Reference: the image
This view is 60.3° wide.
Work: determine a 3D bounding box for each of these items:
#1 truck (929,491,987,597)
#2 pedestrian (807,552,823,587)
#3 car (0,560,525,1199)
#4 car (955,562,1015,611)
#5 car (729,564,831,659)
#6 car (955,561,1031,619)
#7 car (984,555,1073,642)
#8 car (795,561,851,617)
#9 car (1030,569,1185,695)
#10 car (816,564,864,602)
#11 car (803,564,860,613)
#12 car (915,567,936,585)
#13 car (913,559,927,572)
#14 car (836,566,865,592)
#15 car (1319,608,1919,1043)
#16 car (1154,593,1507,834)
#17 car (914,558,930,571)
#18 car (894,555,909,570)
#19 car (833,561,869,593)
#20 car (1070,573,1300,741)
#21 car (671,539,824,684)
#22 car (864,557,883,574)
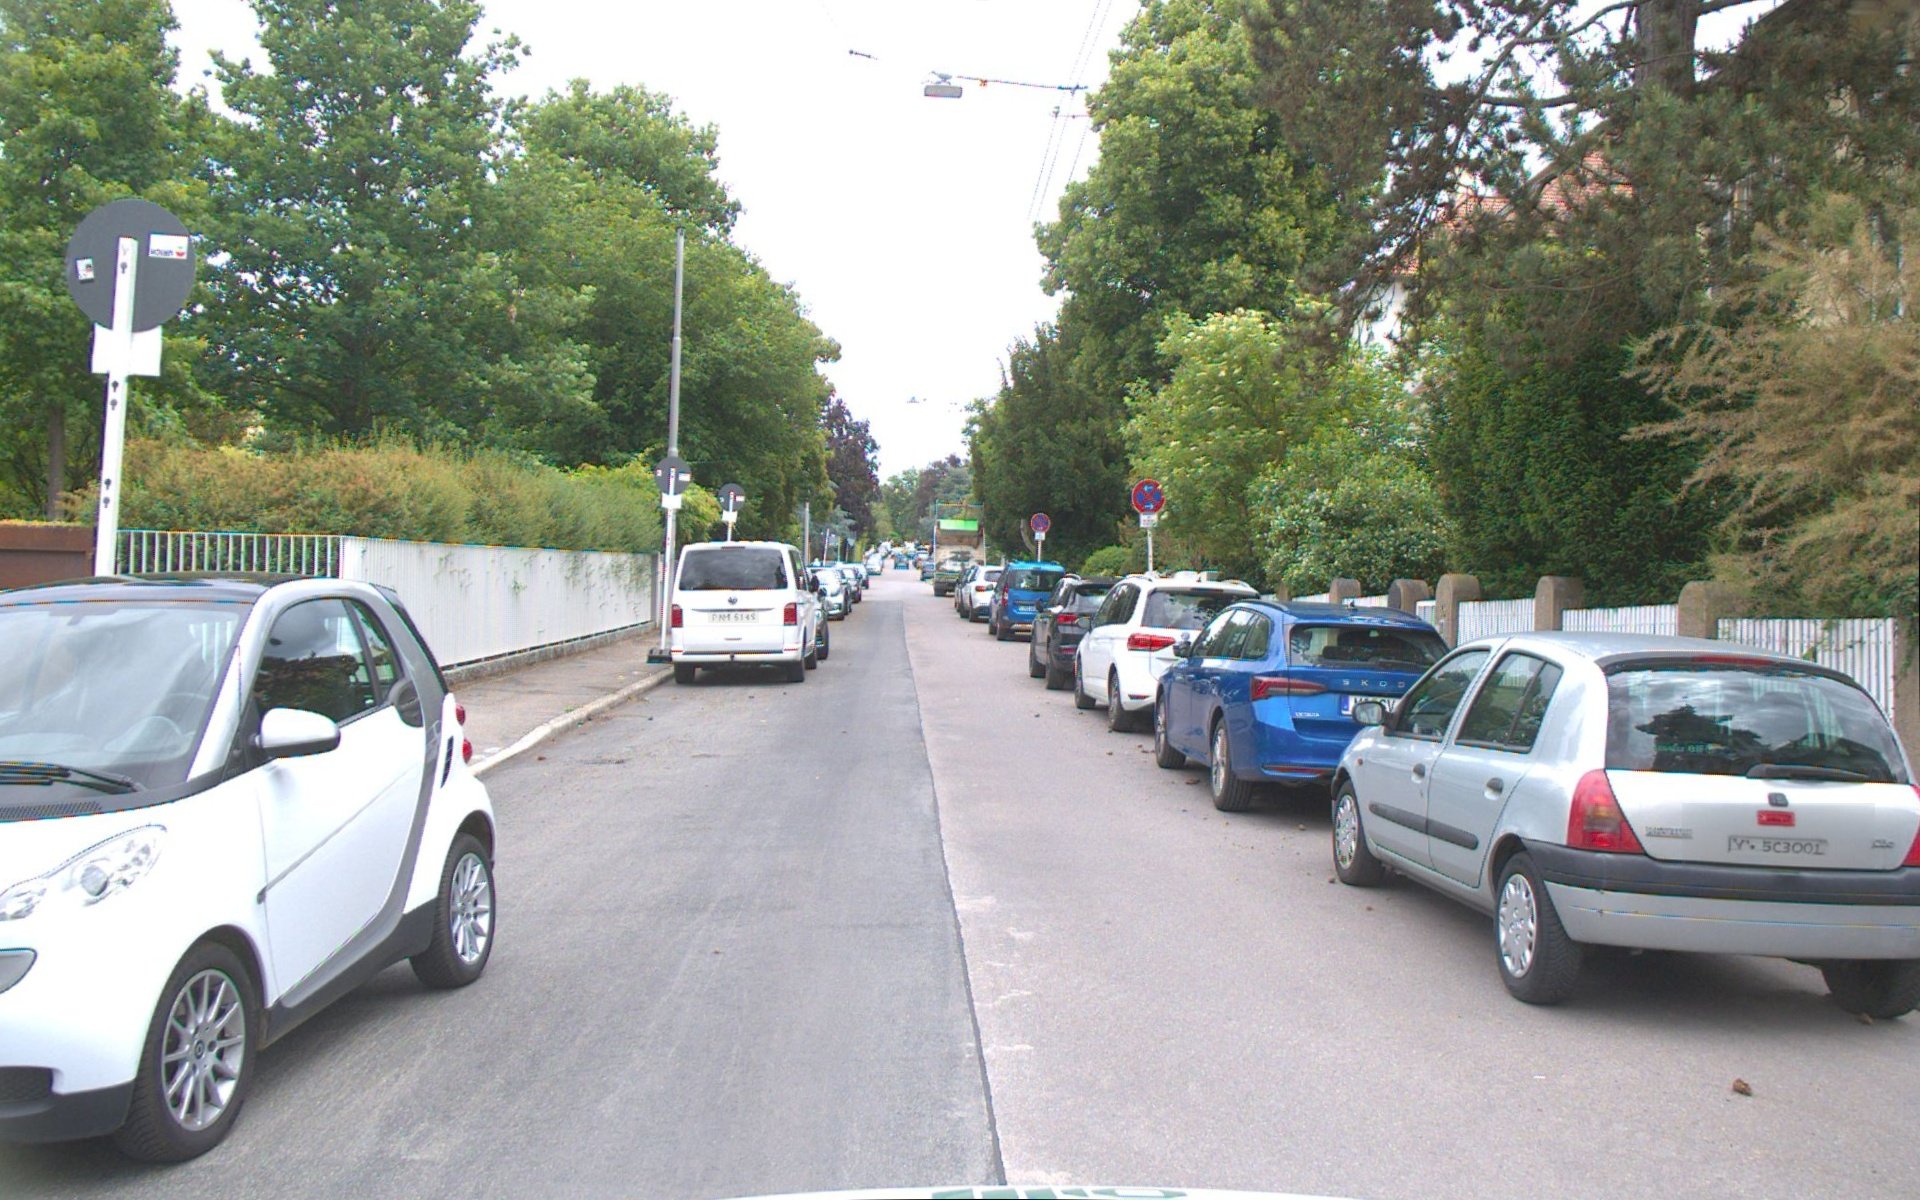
[{"bbox_3d":[-0.165,-2.670,80.820,2.473,4.831,7.185,2,1,-2],"label":"truck"},{"bbox_3d":[-8.771,-1.833,99.942,0.836,2.048,0.700,3,0,-7],"label":"pedestrian"},{"bbox_3d":[-2.593,0.695,5.340,1.412,1.579,2.771,-2,1,4],"label":"car"},{"bbox_3d":[0.811,-0.477,56.087,1.665,1.598,4.305,1,1,-4],"label":"car"},{"bbox_3d":[-3.287,0.154,30.803,1.755,1.651,4.339,0,1,-4],"label":"car"},{"bbox_3d":[0.953,-0.338,50.213,1.723,1.634,4.570,2,1,-6],"label":"car"},{"bbox_3d":[1.577,-0.090,39.272,1.649,1.861,4.155,3,1,-3],"label":"car"},{"bbox_3d":[-4.089,-0.350,49.080,1.590,1.560,2.959,-1,1,-6],"label":"car"},{"bbox_3d":[2.110,0.422,24.765,1.715,1.636,4.073,3,0,-3],"label":"car"},{"bbox_3d":[-4.810,-0.709,66.791,1.607,1.447,4.549,-1,1,0],"label":"car"},{"bbox_3d":[-4.139,-0.403,53.846,1.622,1.506,3.887,-1,1,-2],"label":"car"},{"bbox_3d":[-3.138,-2.191,150.275,1.743,1.515,3.998,1,1,-3],"label":"car"},{"bbox_3d":[-4.898,-4.206,202.827,1.753,1.556,3.734,2,1,-1],"label":"car"},{"bbox_3d":[-6.217,-1.193,93.820,1.604,1.419,3.986,-1,1,-4],"label":"car"},{"bbox_3d":[2.922,0.820,7.711,1.542,1.424,3.654,3,1,-2],"label":"car"},{"bbox_3d":[2.629,0.724,12.670,1.614,1.484,4.050,3,0,-2],"label":"car"},{"bbox_3d":[-4.489,-4.194,193.937,1.774,1.358,3.631,3,2,-3],"label":"car"},{"bbox_3d":[-6.888,-4.430,193.925,1.601,1.730,3.493,2,2,-3],"label":"car"},{"bbox_3d":[-5.191,-1.127,79.074,1.563,1.458,3.999,-1,1,-2],"label":"car"},{"bbox_3d":[2.438,0.549,19.021,1.750,1.631,4.302,3,1,-4],"label":"car"},{"bbox_3d":[-3.085,0.134,24.843,1.817,1.946,4.618,-1,1,-2],"label":"car"},{"bbox_3d":[-8.909,-3.543,170.317,1.676,1.613,4.001,2,1,0],"label":"car"}]
